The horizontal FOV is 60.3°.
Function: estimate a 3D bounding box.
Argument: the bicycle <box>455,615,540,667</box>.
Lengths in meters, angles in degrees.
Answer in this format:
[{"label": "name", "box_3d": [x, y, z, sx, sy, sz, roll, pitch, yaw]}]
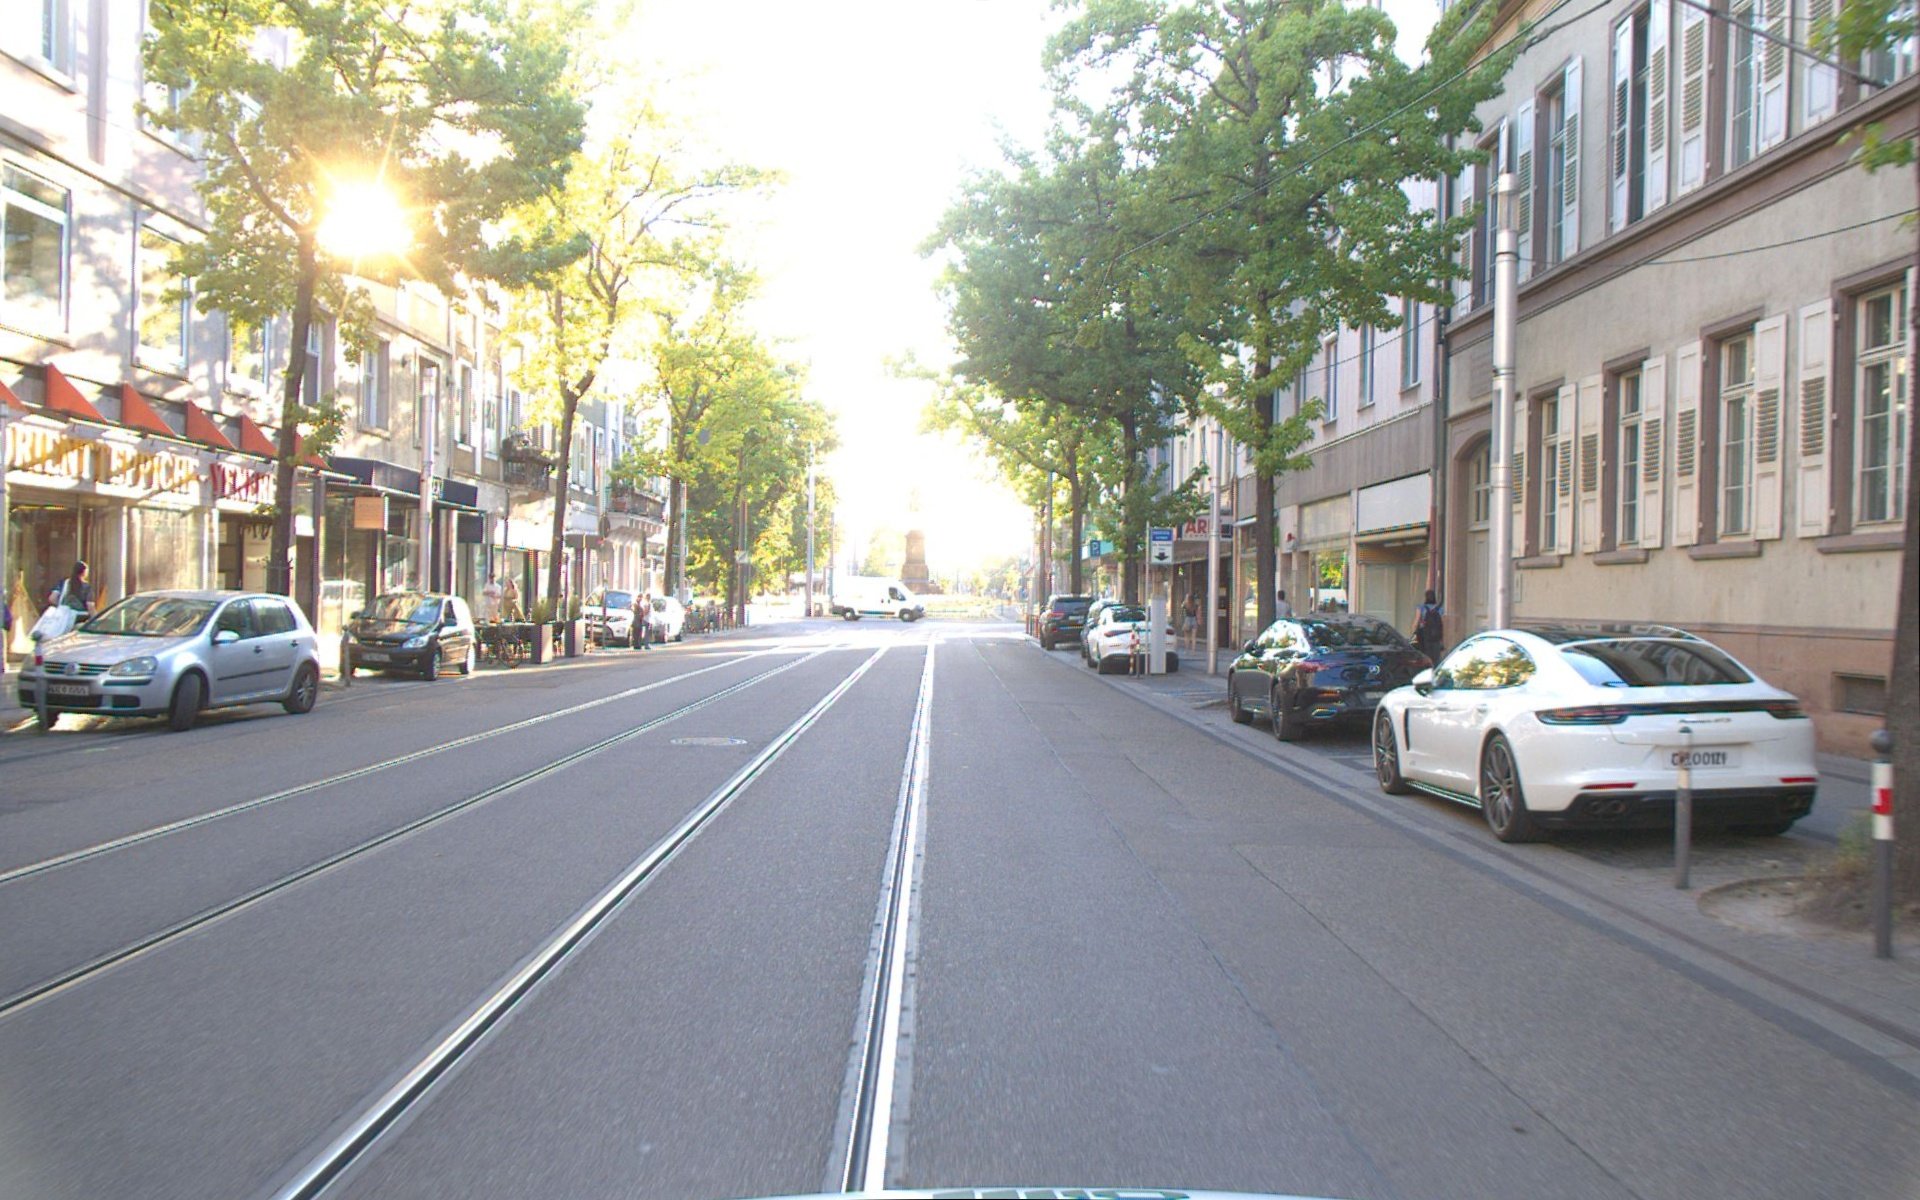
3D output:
[{"label": "bicycle", "box_3d": [-9.496, 0.838, 33.941, 1.582, 0.982, 0.433, 3, 0, 4]}]

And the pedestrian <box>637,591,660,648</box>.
[{"label": "pedestrian", "box_3d": [-8.864, 0.551, 47.089, 0.510, 1.596, 0.633, 0, -1, 0]}]

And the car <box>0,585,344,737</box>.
[{"label": "car", "box_3d": [-8.952, 0.636, 19.069, 1.729, 1.523, 4.177, 1, 0, 6]}]

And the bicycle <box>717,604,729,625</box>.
[{"label": "bicycle", "box_3d": [-11.151, 0.681, 77.879, 0.329, 0.962, 1.510, 1, 0, 0]}]

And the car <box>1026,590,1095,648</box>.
[{"label": "car", "box_3d": [3.361, 0.604, 56.018, 1.899, 1.790, 4.678, -3, 0, -1]}]

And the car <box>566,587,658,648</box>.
[{"label": "car", "box_3d": [-10.338, 0.497, 49.412, 1.799, 1.607, 4.116, 4, 0, 0]}]

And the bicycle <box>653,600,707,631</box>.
[{"label": "bicycle", "box_3d": [-10.981, 0.623, 64.815, 1.999, 1.124, 0.497, 3, -1, -26]}]

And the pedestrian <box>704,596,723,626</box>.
[{"label": "pedestrian", "box_3d": [-10.818, 0.478, 72.579, 0.713, 1.313, 0.856, 2, 0, -3]}]

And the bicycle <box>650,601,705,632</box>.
[{"label": "bicycle", "box_3d": [-10.954, 0.636, 64.164, 1.999, 1.124, 0.497, 3, -1, -26]}]

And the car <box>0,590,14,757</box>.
[{"label": "car", "box_3d": [-9.326, 0.623, 12.564, 1.677, 1.486, 4.485, 2, 0, -1]}]

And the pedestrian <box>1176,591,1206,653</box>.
[{"label": "pedestrian", "box_3d": [6.417, 0.604, 45.952, 0.630, 1.699, 0.786, -2, 0, -1]}]

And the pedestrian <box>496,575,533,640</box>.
[{"label": "pedestrian", "box_3d": [-12.552, 0.199, 46.610, 0.707, 1.791, 1.090, 1, 0, -1]}]

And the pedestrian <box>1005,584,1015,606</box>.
[{"label": "pedestrian", "box_3d": [3.809, -0.401, 125.776, 0.622, 1.634, 0.772, 1, 0, 12]}]

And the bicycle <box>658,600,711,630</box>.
[{"label": "bicycle", "box_3d": [-11.024, 0.613, 66.280, 1.982, 1.124, 0.501, 3, -1, 2]}]

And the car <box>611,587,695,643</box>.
[{"label": "car", "box_3d": [-10.065, 0.464, 54.599, 1.799, 1.607, 4.701, 4, 0, 0]}]

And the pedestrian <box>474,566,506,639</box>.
[{"label": "pedestrian", "box_3d": [-13.319, 0.065, 46.860, 0.707, 2.049, 0.642, 1, 0, -1]}]

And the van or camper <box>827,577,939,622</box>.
[{"label": "van or camper", "box_3d": [-4.455, -0.071, 96.584, 6.165, 2.515, 2.618, 1, 0, 7]}]

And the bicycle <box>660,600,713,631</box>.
[{"label": "bicycle", "box_3d": [-10.858, 0.621, 65.697, 1.982, 1.124, 0.501, 3, -1, 2]}]

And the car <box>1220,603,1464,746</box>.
[{"label": "car", "box_3d": [4.580, 0.820, 20.571, 1.796, 1.504, 4.760, -1, 0, -2]}]

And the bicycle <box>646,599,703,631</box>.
[{"label": "bicycle", "box_3d": [-10.972, 0.590, 63.590, 2.082, 1.124, 0.497, 3, -1, -26]}]

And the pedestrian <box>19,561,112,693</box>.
[{"label": "pedestrian", "box_3d": [-11.902, 0.356, 22.030, 0.827, 1.723, 0.740, 1, 0, -2]}]

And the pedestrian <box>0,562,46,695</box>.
[{"label": "pedestrian", "box_3d": [-12.751, 0.361, 21.899, 0.773, 1.723, 0.913, 1, 0, -2]}]

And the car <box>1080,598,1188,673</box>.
[{"label": "car", "box_3d": [3.959, 0.765, 38.337, 1.953, 1.524, 4.679, -2, 0, 0]}]

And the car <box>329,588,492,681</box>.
[{"label": "car", "box_3d": [-9.752, 0.573, 29.641, 1.632, 1.453, 3.826, 4, 0, -1]}]

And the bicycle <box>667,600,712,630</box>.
[{"label": "bicycle", "box_3d": [-10.990, 0.605, 67.152, 1.988, 1.124, 0.499, 2, -1, 34]}]

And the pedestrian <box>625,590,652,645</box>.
[{"label": "pedestrian", "box_3d": [-8.993, 0.492, 46.271, 0.607, 1.536, 0.729, 0, -1, 0]}]

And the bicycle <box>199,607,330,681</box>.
[{"label": "bicycle", "box_3d": [-10.781, 0.685, 25.670, 1.776, 1.083, 0.439, 2, 0, -9]}]

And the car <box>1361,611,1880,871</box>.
[{"label": "car", "box_3d": [4.559, 0.863, 12.373, 1.873, 1.445, 4.887, -2, 0, -1]}]

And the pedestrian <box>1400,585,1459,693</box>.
[{"label": "pedestrian", "box_3d": [7.602, 0.619, 26.809, 0.644, 1.694, 0.888, -2, 0, -2]}]

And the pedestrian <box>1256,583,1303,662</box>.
[{"label": "pedestrian", "box_3d": [7.374, 0.513, 38.214, 0.841, 1.783, 0.932, -2, 0, -1]}]

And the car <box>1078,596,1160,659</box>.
[{"label": "car", "box_3d": [4.395, 0.732, 46.228, 1.740, 1.618, 3.890, -3, 0, -1]}]
